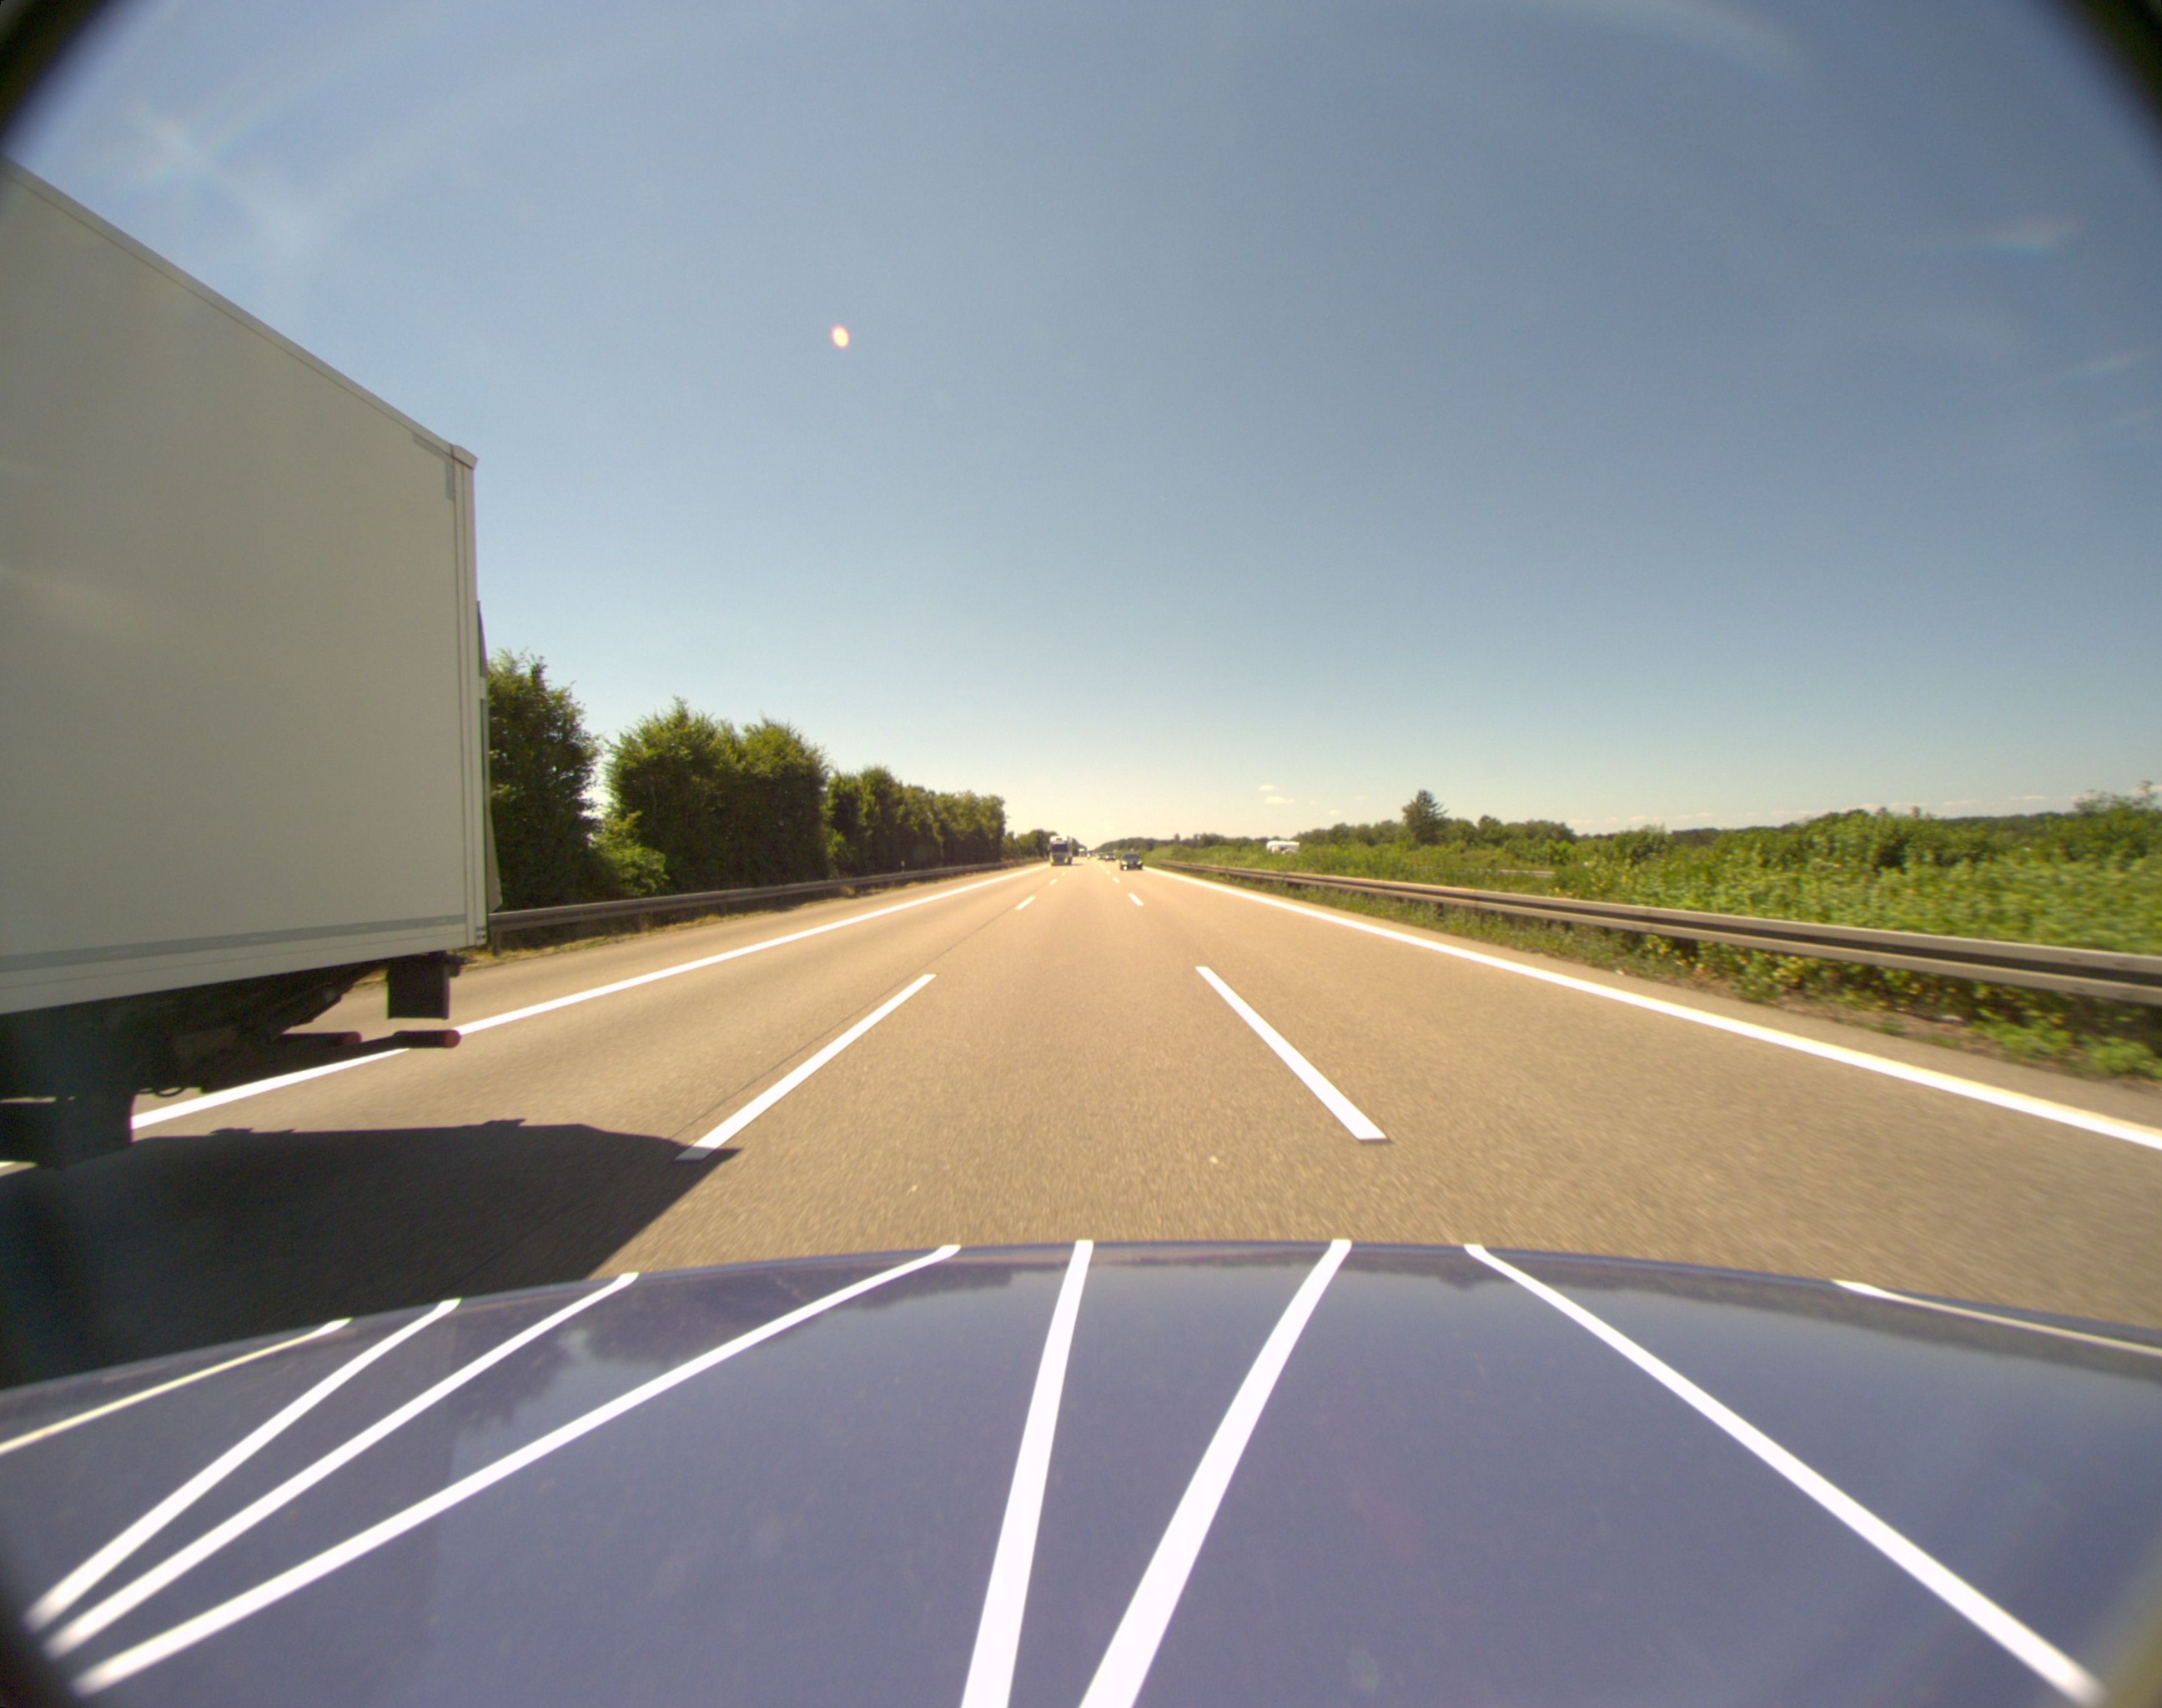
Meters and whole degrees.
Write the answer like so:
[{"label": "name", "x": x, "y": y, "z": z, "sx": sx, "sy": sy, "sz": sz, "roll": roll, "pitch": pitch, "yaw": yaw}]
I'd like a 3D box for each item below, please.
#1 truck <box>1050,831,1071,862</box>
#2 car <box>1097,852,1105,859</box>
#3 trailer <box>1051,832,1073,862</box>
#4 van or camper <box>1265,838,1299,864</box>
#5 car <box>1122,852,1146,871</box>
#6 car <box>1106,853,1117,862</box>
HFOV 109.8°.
[{"label": "truck", "x": -2.775, "y": -0.979, "z": 104.927, "sx": 2.476, "sy": 4.038, "sz": 6.320, "roll": -2, "pitch": 0, "yaw": 1}, {"label": "car", "x": 4.601, "y": 0.343, "z": 174.381, "sx": 1.811, "sy": 1.417, "sz": 4.000, "roll": -2, "pitch": 0, "yaw": 1}, {"label": "trailer", "x": -2.676, "y": -1.008, "z": 111.164, "sx": 2.476, "sy": 4.038, "sz": 13.880, "roll": -2, "pitch": 0, "yaw": 1}, {"label": "van or camper", "x": 21.270, "y": -0.335, "z": 80.761, "sx": 1.998, "sy": 2.530, "sz": 6.298, "roll": -2, "pitch": 0, "yaw": 1}, {"label": "car", "x": 4.553, "y": 0.640, "z": 66.071, "sx": 1.811, "sy": 1.459, "sz": 4.000, "roll": -2, "pitch": 0, "yaw": 1}, {"label": "car", "x": 5.356, "y": 0.612, "z": 134.486, "sx": 1.811, "sy": 1.417, "sz": 4.000, "roll": -2, "pitch": 0, "yaw": 1}]
